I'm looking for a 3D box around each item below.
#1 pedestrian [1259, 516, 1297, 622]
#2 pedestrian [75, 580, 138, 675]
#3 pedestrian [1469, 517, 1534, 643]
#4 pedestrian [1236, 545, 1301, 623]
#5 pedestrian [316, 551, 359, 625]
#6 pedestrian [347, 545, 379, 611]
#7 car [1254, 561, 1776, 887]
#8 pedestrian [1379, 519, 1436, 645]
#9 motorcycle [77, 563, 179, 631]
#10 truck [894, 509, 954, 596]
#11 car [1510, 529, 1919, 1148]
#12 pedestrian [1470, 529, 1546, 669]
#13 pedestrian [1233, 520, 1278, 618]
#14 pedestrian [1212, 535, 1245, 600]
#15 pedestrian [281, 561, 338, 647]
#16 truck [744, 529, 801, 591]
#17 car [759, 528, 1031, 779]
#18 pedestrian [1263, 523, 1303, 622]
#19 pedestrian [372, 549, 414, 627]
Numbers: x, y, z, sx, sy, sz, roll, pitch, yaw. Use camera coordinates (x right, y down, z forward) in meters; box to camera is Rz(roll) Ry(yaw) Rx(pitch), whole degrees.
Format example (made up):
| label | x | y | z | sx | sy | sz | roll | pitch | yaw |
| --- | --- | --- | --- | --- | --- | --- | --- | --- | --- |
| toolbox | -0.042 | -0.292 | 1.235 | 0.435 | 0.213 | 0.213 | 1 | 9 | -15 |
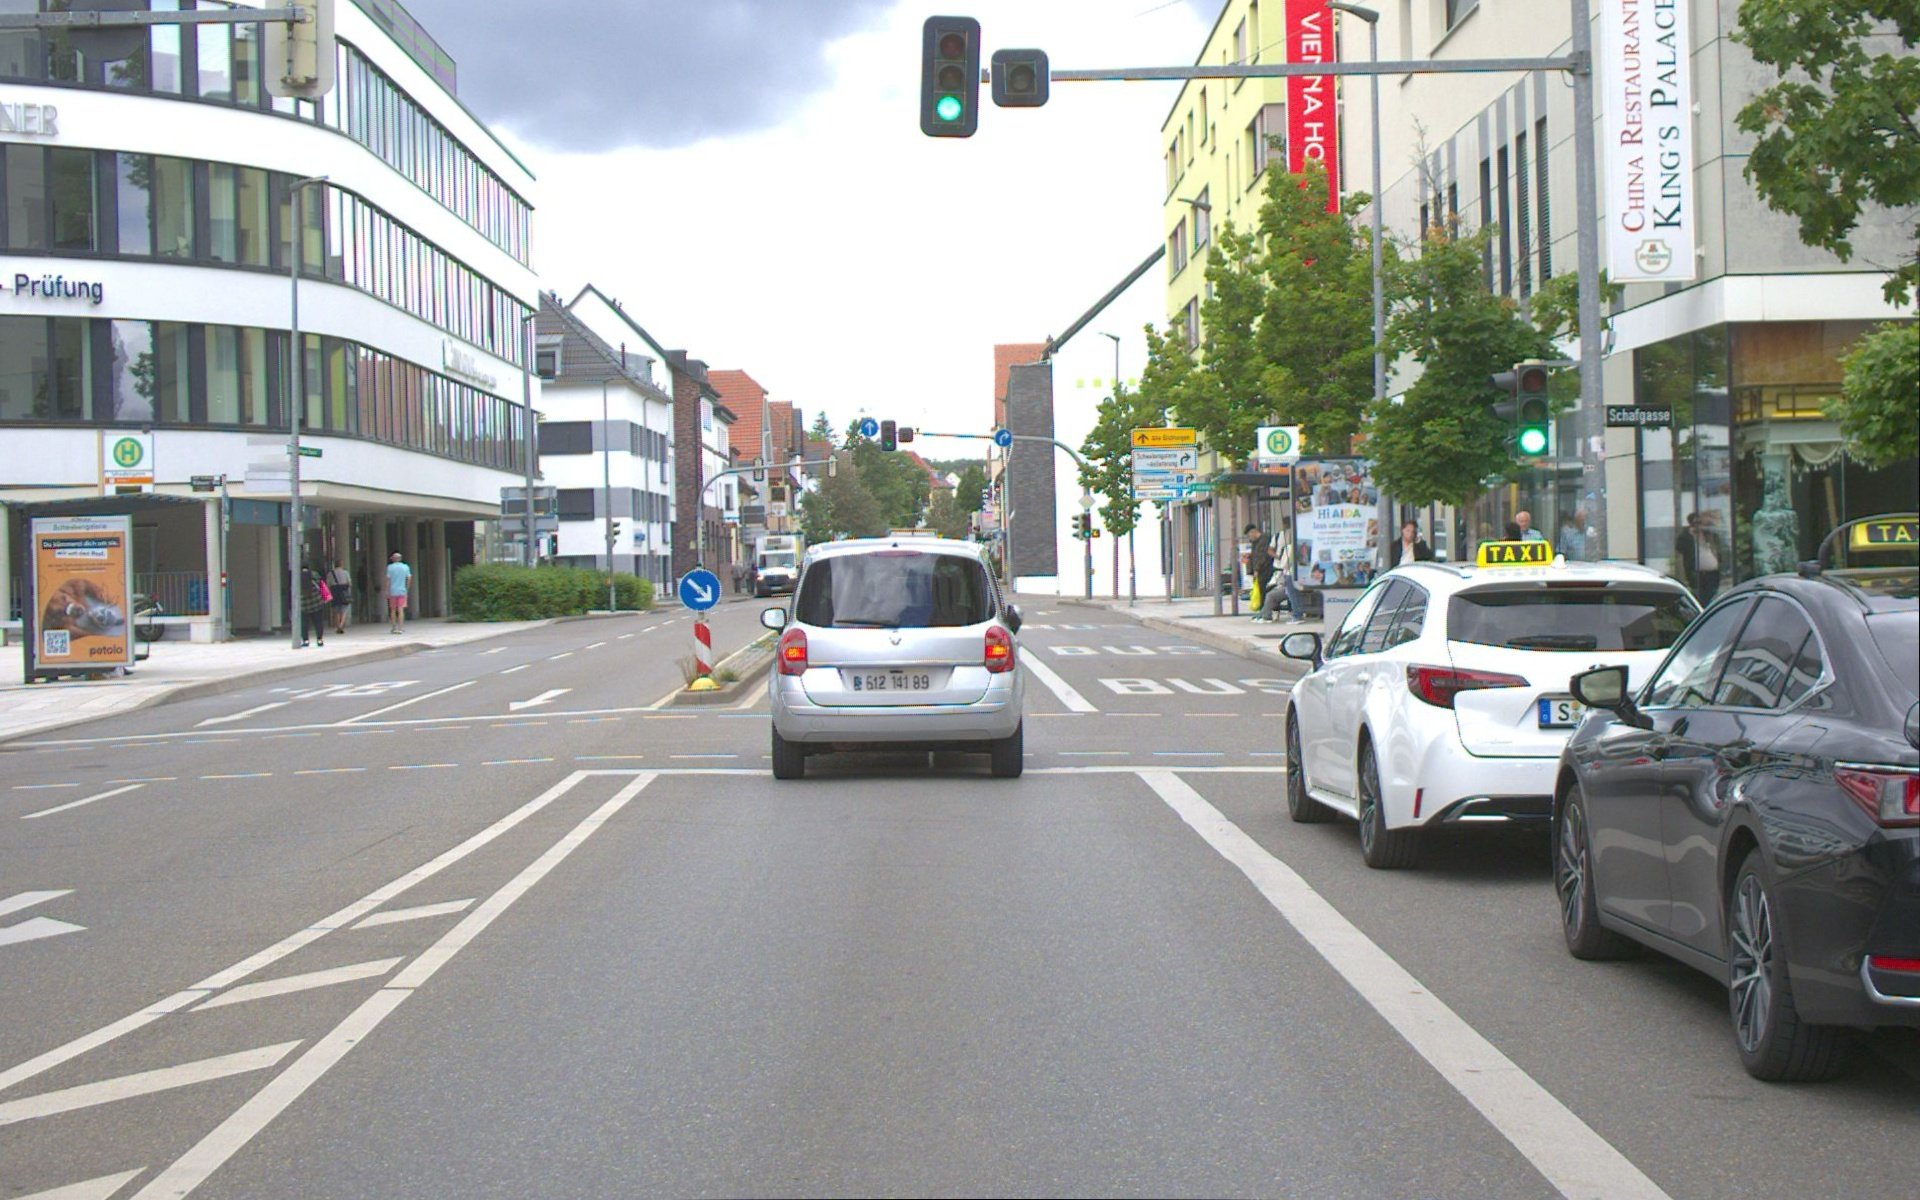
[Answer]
| label | x | y | z | sx | sy | sz | roll | pitch | yaw |
| --- | --- | --- | --- | --- | --- | --- | --- | --- | --- |
| pedestrian | 5.402 | -0.531 | 58.461 | 0.579 | 1.763 | 0.856 | -2 | 0 | 5 |
| pedestrian | -11.598 | 0.371 | 46.738 | 0.684 | 1.249 | 0.576 | -2 | 1 | -2 |
| pedestrian | 7.298 | -0.274 | 46.326 | 0.744 | 1.663 | 0.614 | -1 | 1 | 0 |
| pedestrian | 5.146 | -0.272 | 57.425 | 0.942 | 1.255 | 0.733 | -2 | 0 | -3 |
| pedestrian | -13.624 | -0.262 | 75.254 | 0.730 | 1.608 | 0.931 | 0 | 1 | 1 |
| pedestrian | -15.738 | -0.584 | 90.615 | 0.505 | 1.724 | 0.614 | -1 | 0 | 31 |
| car | 2.631 | 0.518 | 17.332 | 1.782 | 1.420 | 4.515 | 0 | 1 | -2 |
| pedestrian | 6.000 | -0.248 | 46.151 | 0.655 | 1.663 | 0.614 | -1 | 1 | 0 |
| motorcycle | -16.502 | -0.067 | 68.182 | 1.855 | 1.328 | 0.636 | 1 | 0 | 3 |
| truck | -1.615 | -2.165 | 156.825 | 2.595 | 3.844 | 6.849 | -1 | 1 | 0 |
| car | 3.045 | 0.575 | 10.946 | 1.736 | 1.536 | 4.790 | 1 | 1 | -1 |
| pedestrian | 6.383 | -0.014 | 40.049 | 0.740 | 1.603 | 0.715 | -1 | 1 | 0 |
| pedestrian | 5.145 | -0.542 | 59.879 | 0.721 | 1.678 | 0.732 | -2 | 0 | 5 |
| pedestrian | 6.714 | -0.818 | 86.012 | 0.695 | 1.588 | 0.603 | -2 | 1 | -1 |
| pedestrian | -11.906 | 0.066 | 62.969 | 0.830 | 1.562 | 0.813 | 0 | 1 | 5 |
| truck | -9.206 | -1.981 | 169.615 | 2.435 | 2.943 | 8.365 | -1 | 1 | -1 |
| car | -0.440 | 0.317 | 23.807 | 1.706 | 1.573 | 4.000 | 1 | 1 | -1 |
| pedestrian | 5.269 | -0.444 | 56.073 | 0.579 | 1.585 | 0.732 | -2 | 0 | 5 |
| pedestrian | -12.247 | -0.268 | 74.288 | 0.730 | 1.668 | 0.931 | 0 | 1 | 1 |
